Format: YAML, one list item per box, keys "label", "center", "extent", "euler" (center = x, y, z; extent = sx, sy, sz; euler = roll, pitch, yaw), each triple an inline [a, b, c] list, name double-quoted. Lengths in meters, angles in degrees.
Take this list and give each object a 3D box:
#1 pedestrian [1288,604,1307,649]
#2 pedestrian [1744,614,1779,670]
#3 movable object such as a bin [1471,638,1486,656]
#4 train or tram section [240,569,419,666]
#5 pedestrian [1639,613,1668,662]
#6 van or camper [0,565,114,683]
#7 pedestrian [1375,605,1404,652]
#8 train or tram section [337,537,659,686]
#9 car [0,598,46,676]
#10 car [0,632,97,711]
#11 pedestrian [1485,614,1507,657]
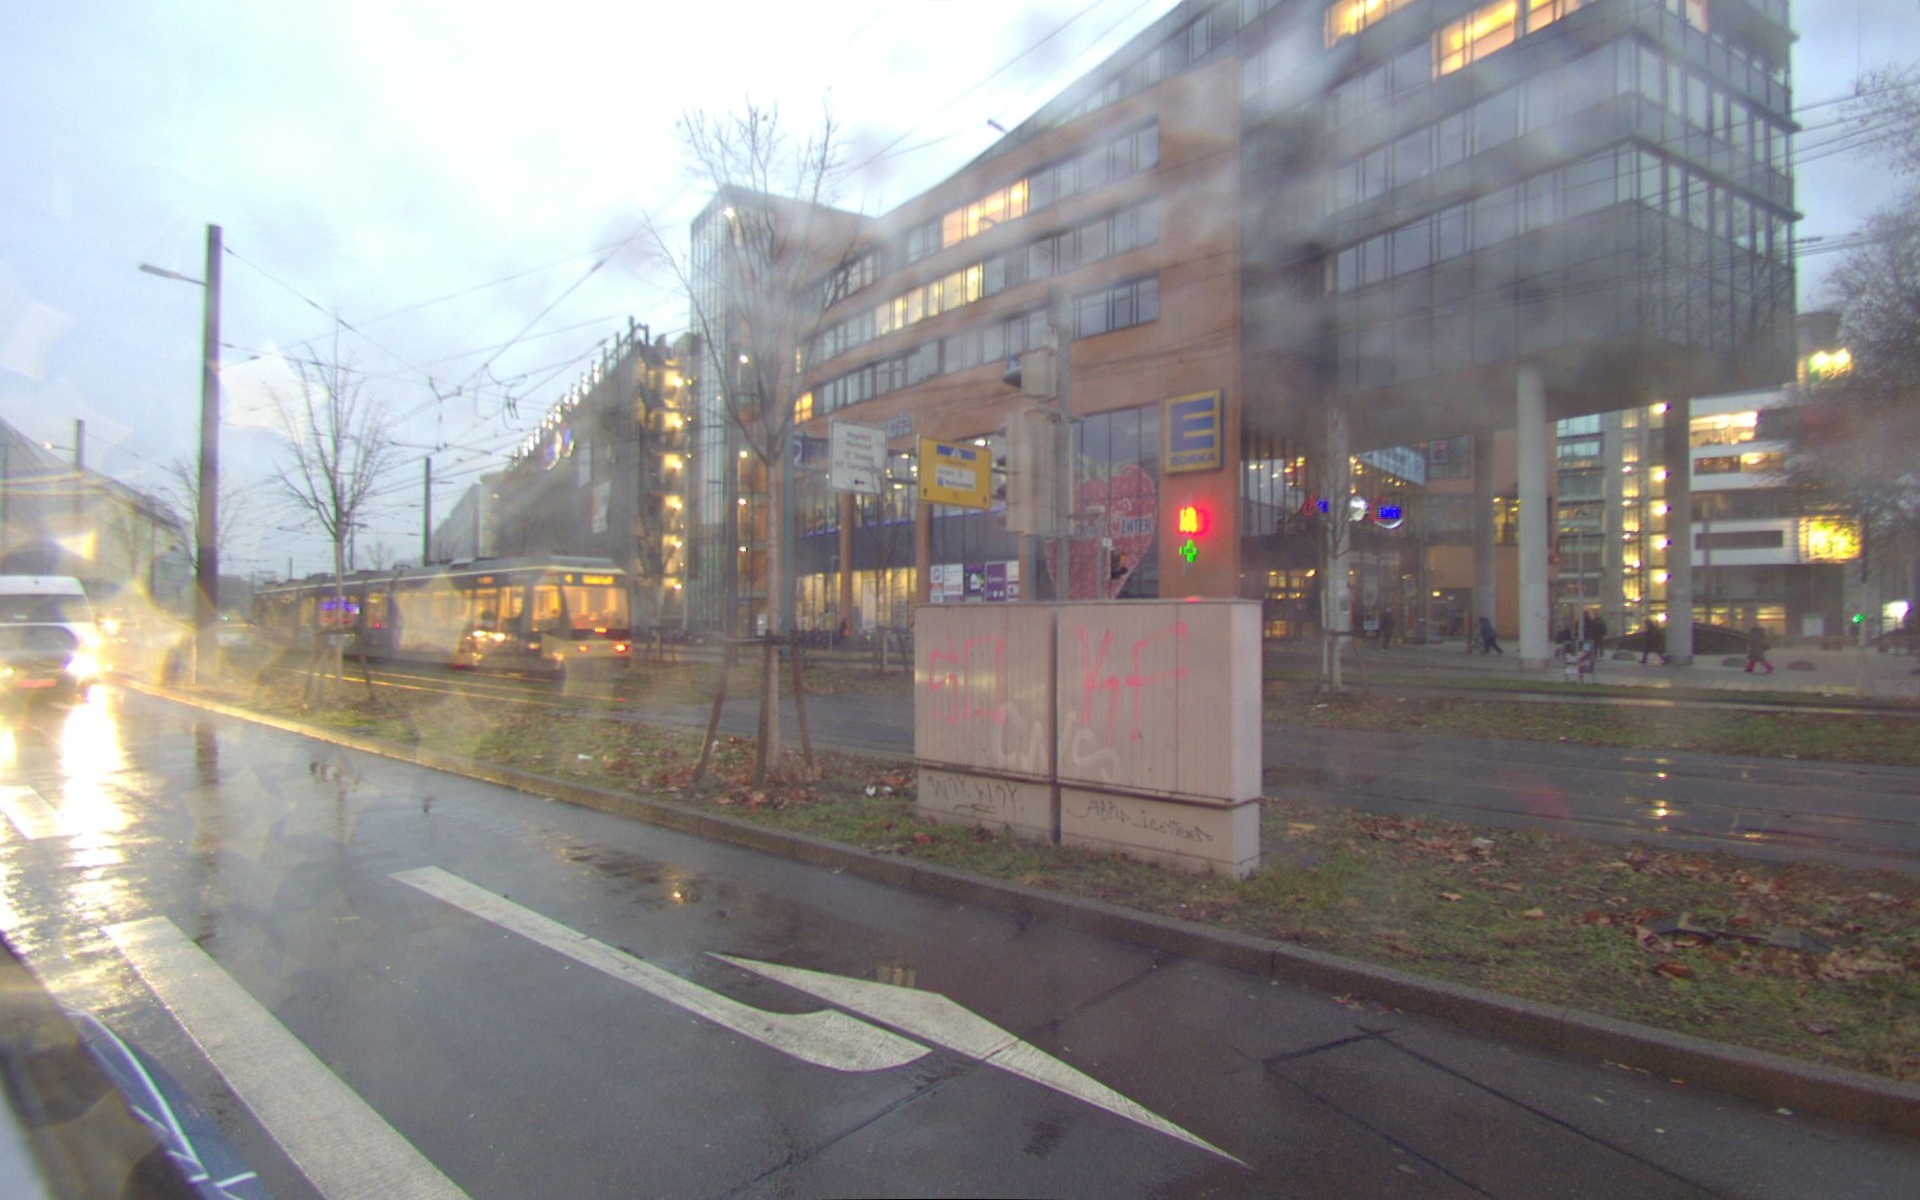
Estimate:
- label: "pedestrian"
  center: [13.414, 1.053, 40.257]
  extent: [0.658, 1.766, 0.534]
  euler: [0, -2, 12]
- label: "pedestrian"
  center: [25.684, 1.340, 32.438]
  extent: [0.821, 1.787, 0.564]
  euler: [-1, -2, 42]
- label: "movable object such as a bin"
  center: [20.018, 1.800, 39.085]
  extent: [0.484, 0.694, 0.353]
  euler: [-1, -2, 33]
- label: "train or tram section"
  center: [-29.541, 0.864, 46.536]
  extent: [2.831, 3.642, 20.086]
  euler: [2, -2, -44]
- label: "pedestrian"
  center: [24.770, 1.331, 36.145]
  extent: [0.784, 1.725, 0.647]
  euler: [-1, -2, 39]
- label: "van or camper"
  center: [-22.518, 0.574, 24.490]
  extent: [5.894, 2.551, 2.126]
  euler: [-1, -2, 40]
- label: "pedestrian"
  center: [16.358, 1.090, 38.586]
  extent: [0.782, 1.766, 0.704]
  euler: [0, -2, -1]
- label: "train or tram section"
  center: [-15.748, 0.477, 32.489]
  extent: [2.831, 3.642, 19.223]
  euler: [2, -2, -45]
- label: "car"
  center: [-37.596, 1.409, 39.524]
  extent: [5.811, 2.885, 2.102]
  euler: [-1, -2, 41]
- label: "car"
  center: [-17.699, 1.327, 19.092]
  extent: [4.057, 1.355, 1.735]
  euler: [-3, -3, 43]
- label: "pedestrian"
  center: [20.519, 1.345, 38.740]
  extent: [0.674, 1.620, 0.449]
  euler: [-1, -2, 33]
